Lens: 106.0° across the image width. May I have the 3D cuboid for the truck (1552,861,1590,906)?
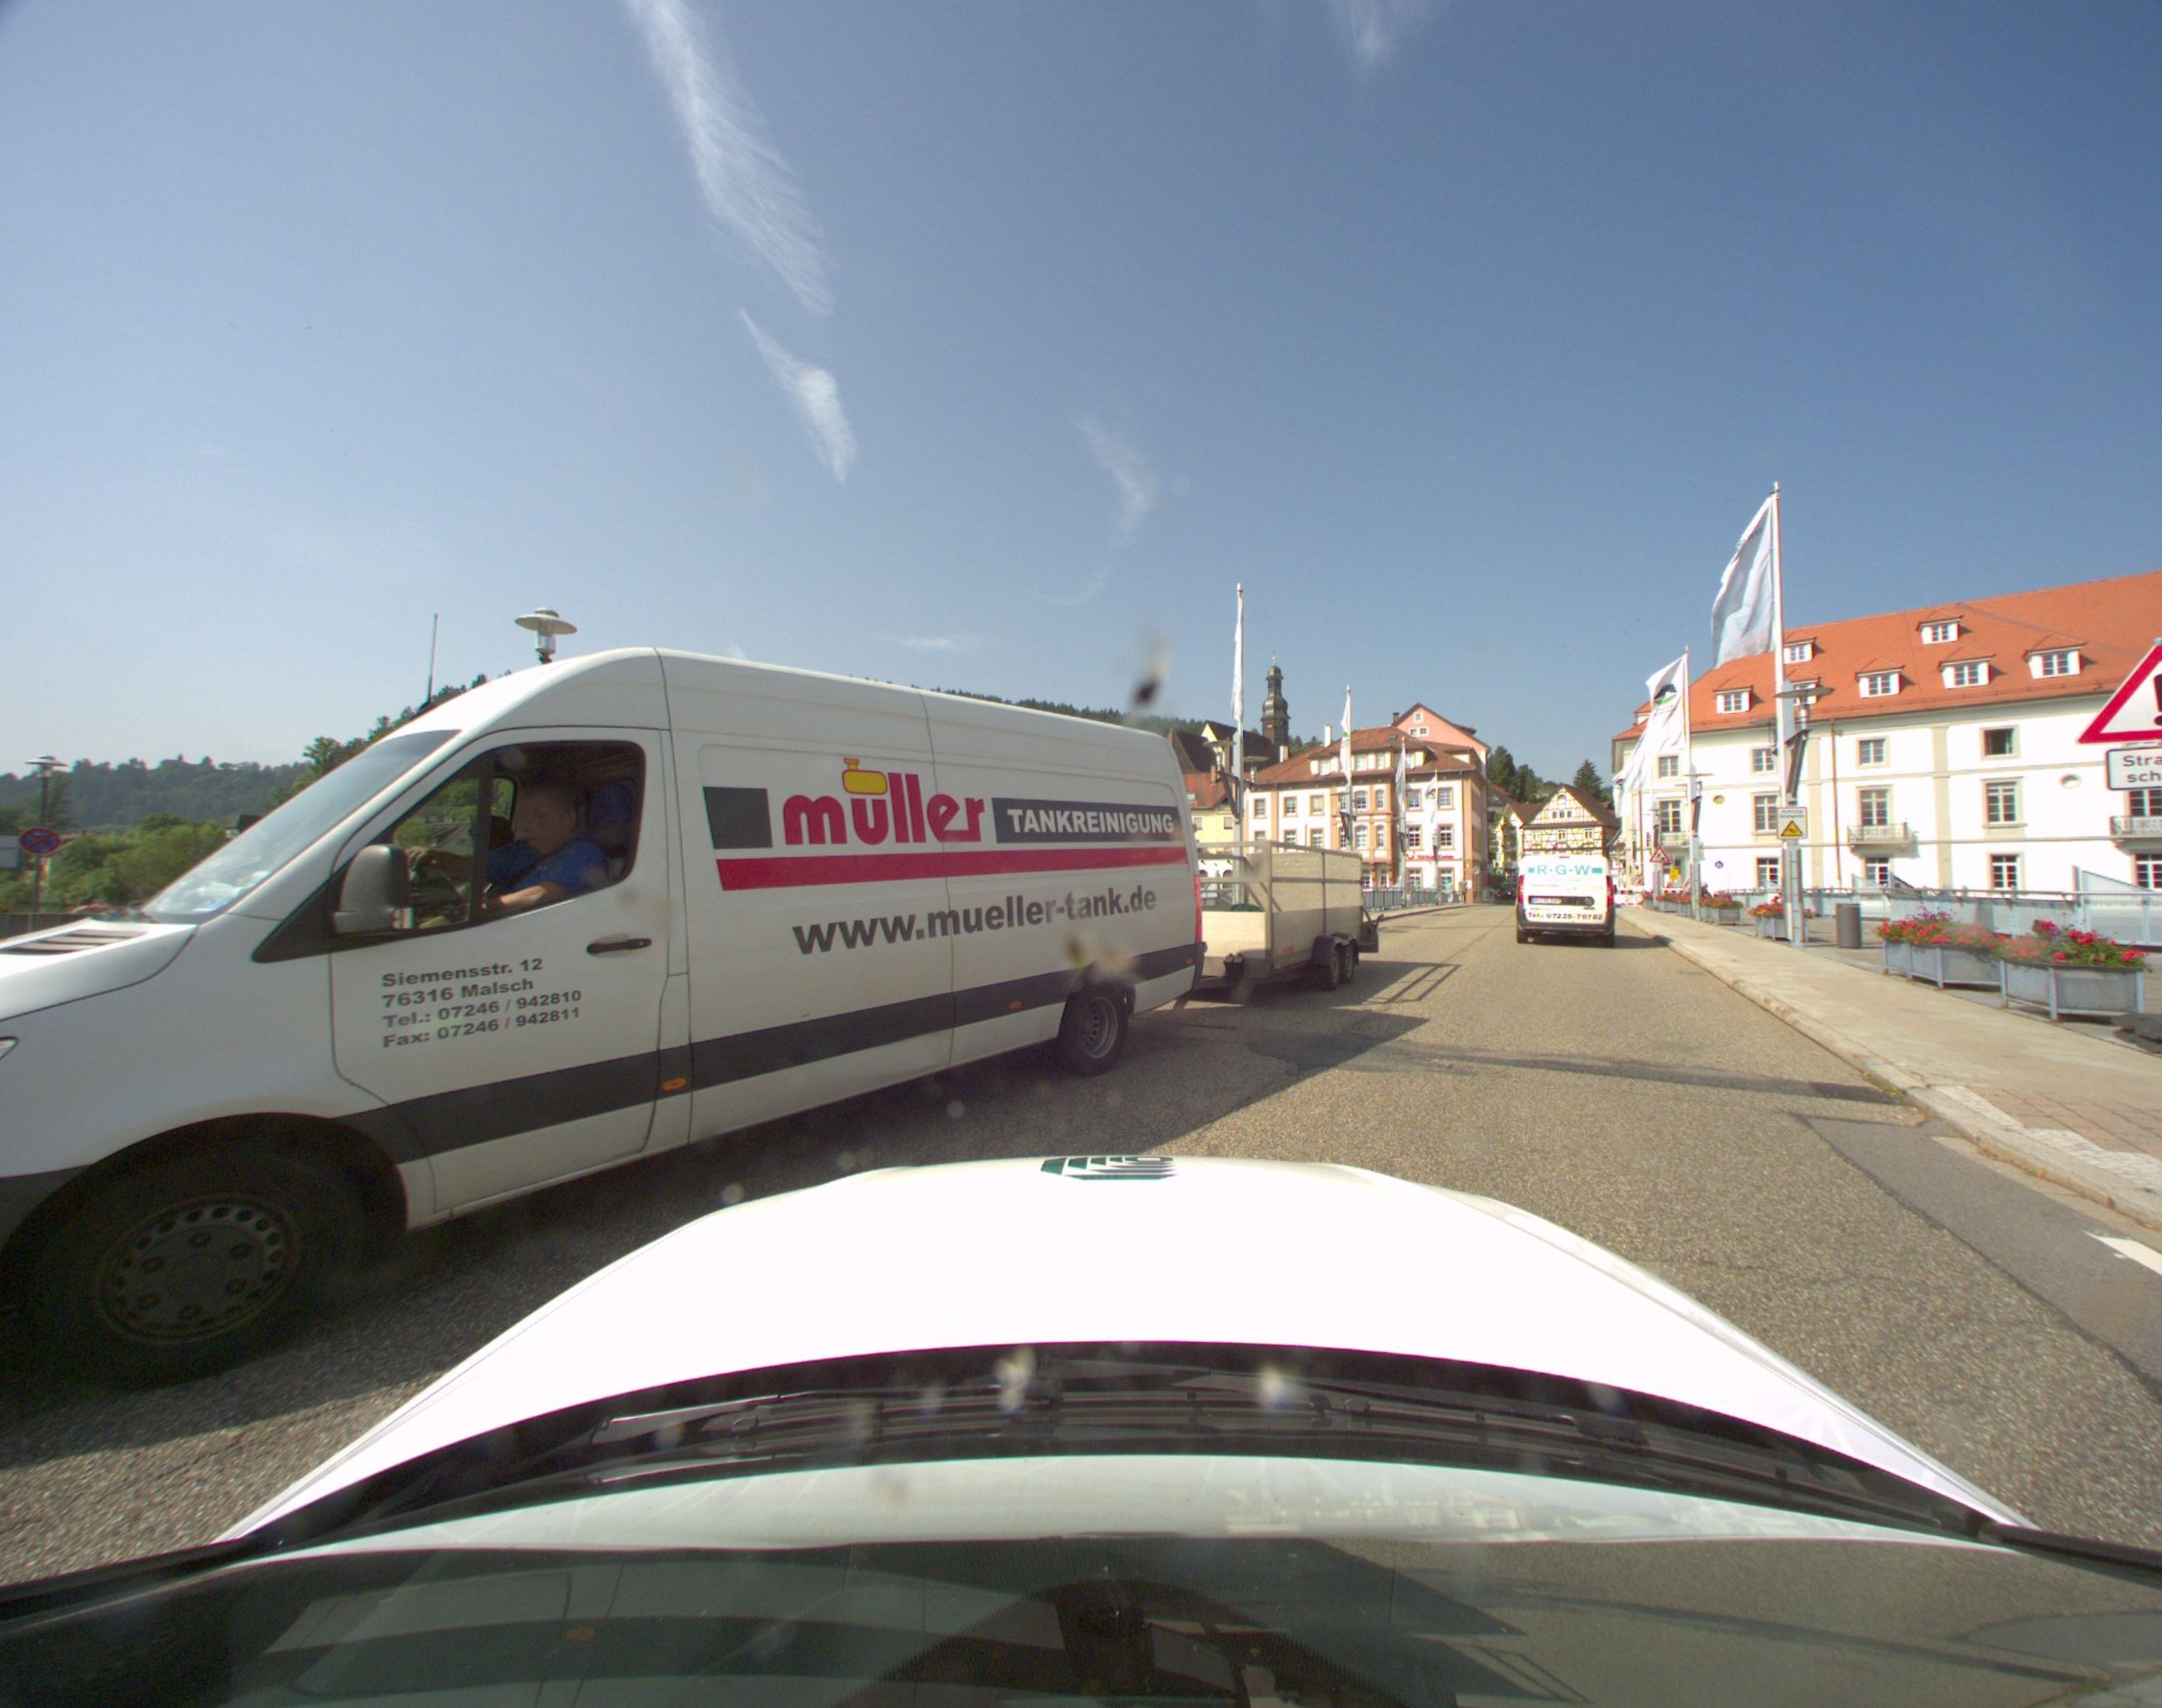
[{"bbox_3d":[29.192,1.766,48.574,1.843,2.586,4.286,0,-2,30],"label":"truck"}]

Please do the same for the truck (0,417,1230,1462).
[{"bbox_3d":[-1.742,0.213,5.124,2.084,2.699,7.178,-2,-1,38],"label":"truck"}]

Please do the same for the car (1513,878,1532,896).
[{"bbox_3d":[47.914,3.540,88.300,1.760,1.793,4.725,0,-2,29],"label":"car"}]

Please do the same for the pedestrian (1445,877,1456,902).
[{"bbox_3d":[23.595,2.251,51.963,0.578,1.610,0.540,0,-2,30],"label":"pedestrian"}]

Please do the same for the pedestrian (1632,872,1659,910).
[{"bbox_3d":[26.071,1.705,37.602,0.742,1.723,0.728,0,-2,0],"label":"pedestrian"}]

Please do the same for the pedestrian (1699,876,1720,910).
[{"bbox_3d":[23.317,1.456,30.230,0.447,1.244,0.630,-1,-3,26],"label":"pedestrian"}]

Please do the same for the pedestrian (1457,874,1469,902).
[{"bbox_3d":[24.235,2.159,51.620,0.609,1.763,0.869,0,-2,30],"label":"pedestrian"}]

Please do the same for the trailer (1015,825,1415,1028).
[{"bbox_3d":[2.055,0.719,10.392,2.585,1.828,5.673,-2,-2,38],"label":"trailer"}]

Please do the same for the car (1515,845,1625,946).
[{"bbox_3d":[10.610,0.875,17.695,1.826,1.906,4.341,0,-3,31],"label":"car"}]

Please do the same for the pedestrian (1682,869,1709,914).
[{"bbox_3d":[22.333,1.359,29.600,0.660,1.618,0.566,0,-2,24],"label":"pedestrian"}]
